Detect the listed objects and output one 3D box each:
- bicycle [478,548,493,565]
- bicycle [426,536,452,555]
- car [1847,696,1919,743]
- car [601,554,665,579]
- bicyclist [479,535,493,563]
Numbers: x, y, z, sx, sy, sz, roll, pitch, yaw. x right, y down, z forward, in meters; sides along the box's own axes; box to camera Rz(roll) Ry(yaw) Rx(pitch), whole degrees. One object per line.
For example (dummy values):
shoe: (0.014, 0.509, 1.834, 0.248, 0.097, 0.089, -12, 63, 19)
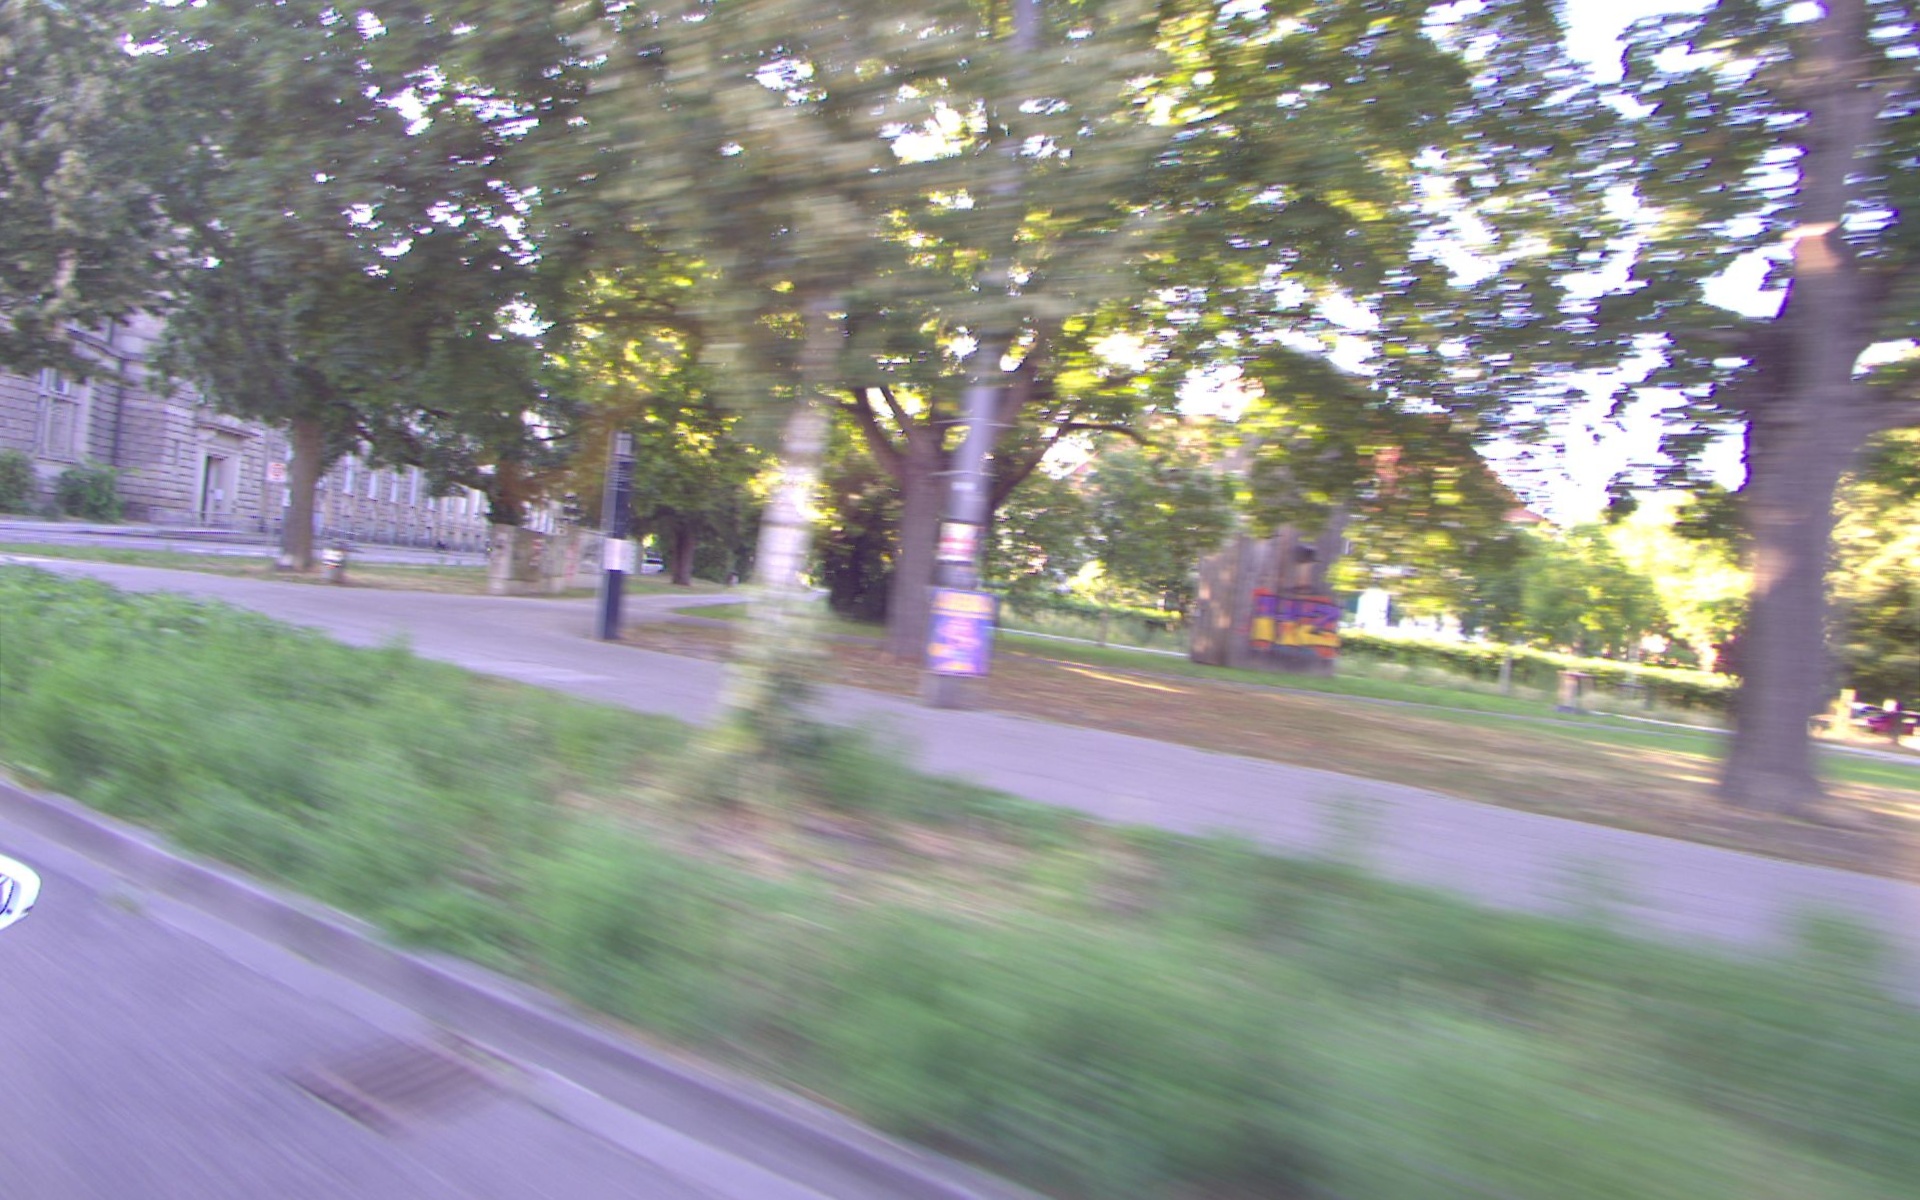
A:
bicycle: (-32.445, -2.968, 68.758, 0.657, 1.084, 2.136, 5, 1, -30)
bicycle: (-36.456, -3.803, 70.429, 0.840, 1.115, 1.980, 8, 0, -6)
car: (41.797, 5.362, 43.941, 4.084, 1.651, 1.869, 7, 1, 26)
car: (-25.217, -2.574, 77.775, 4.380, 1.488, 1.778, 6, 1, -11)
bicyclist: (-32.337, -3.510, 68.641, 0.640, 1.830, 0.774, 5, 2, -30)
